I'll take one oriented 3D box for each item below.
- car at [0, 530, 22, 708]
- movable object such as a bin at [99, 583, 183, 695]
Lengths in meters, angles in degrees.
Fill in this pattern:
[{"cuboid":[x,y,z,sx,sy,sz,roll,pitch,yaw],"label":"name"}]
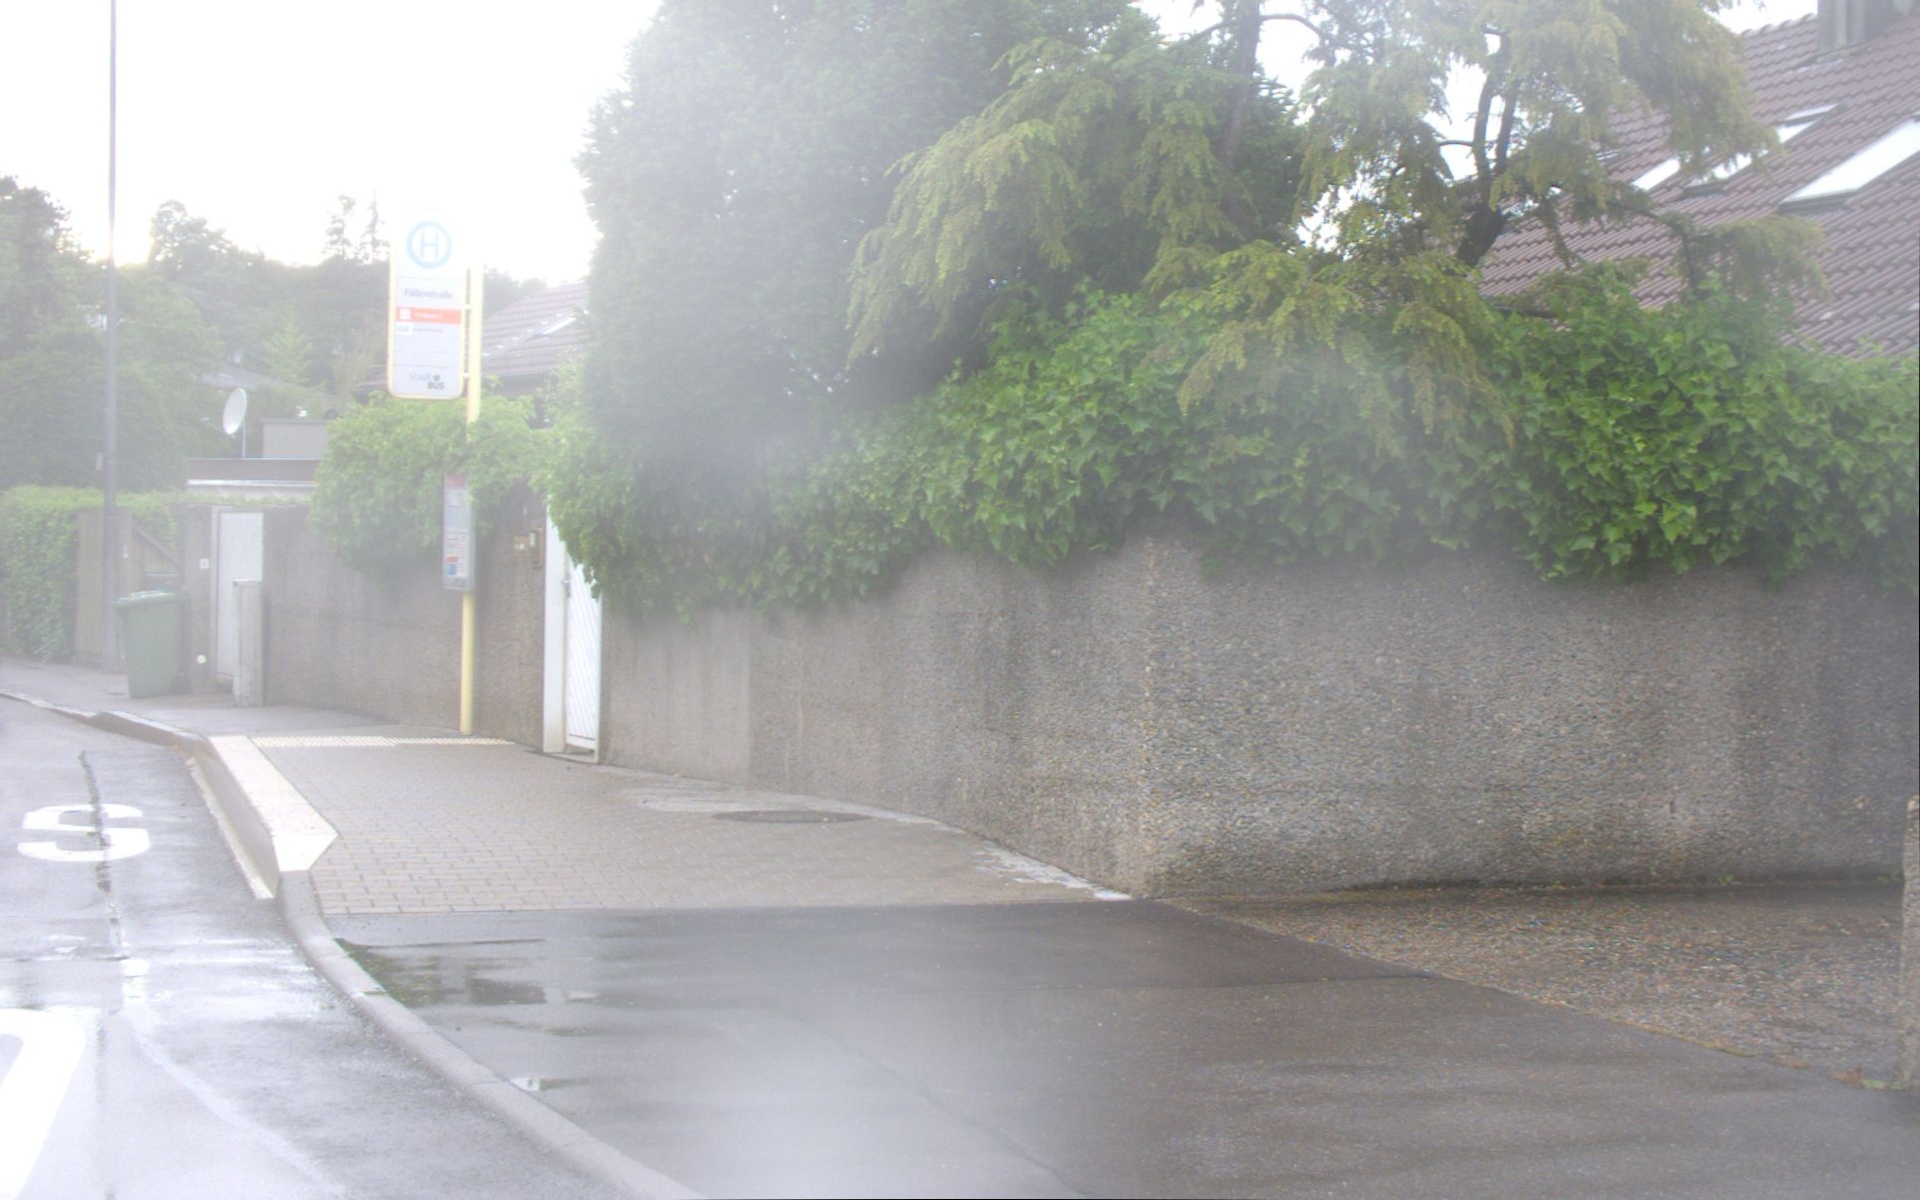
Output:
[{"cuboid":[-9.811,0.214,31.915,1.868,1.507,4.093,2,-3,-18],"label":"car"},{"cuboid":[-8.329,0.392,34.953,0.738,1.085,0.600,-2,2,-19],"label":"movable object such as a bin"}]
